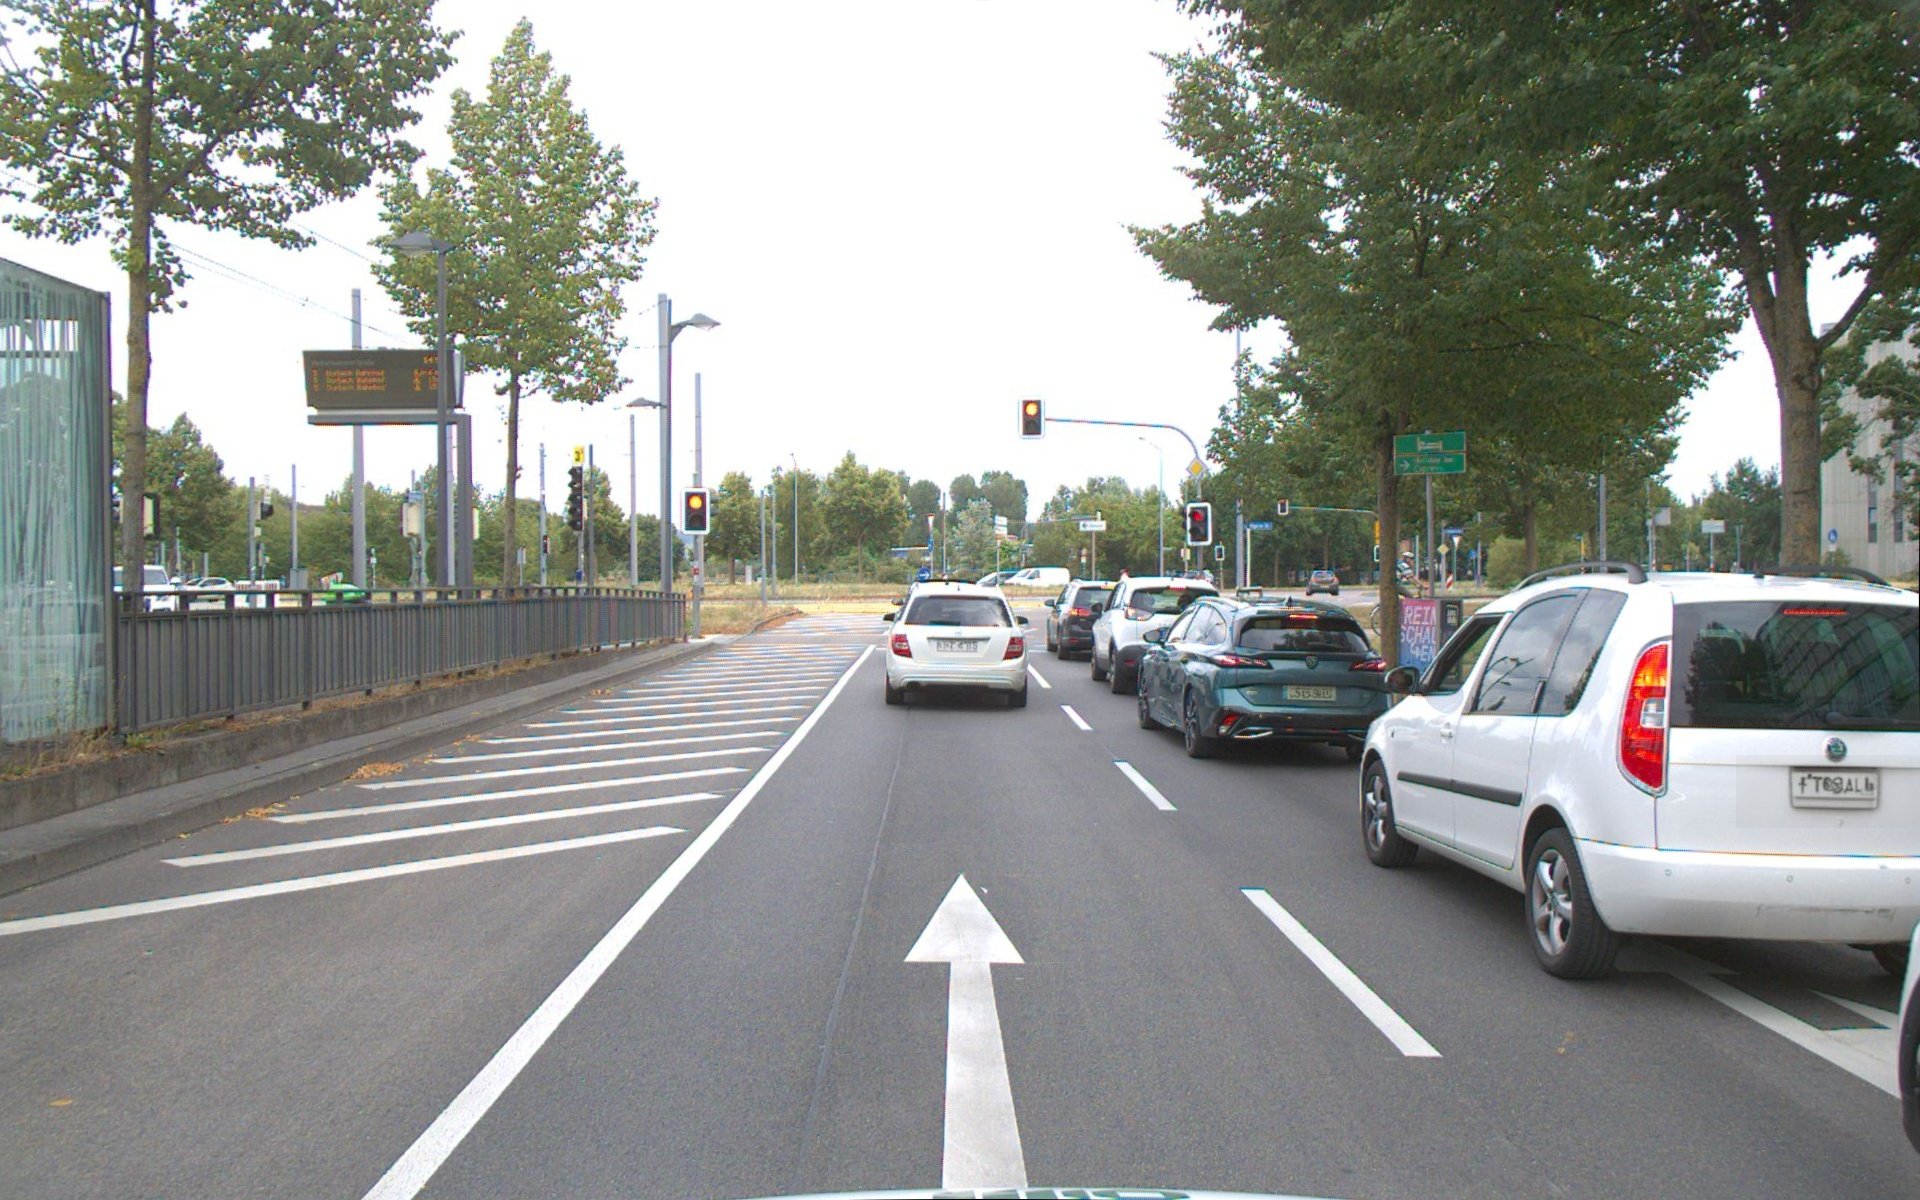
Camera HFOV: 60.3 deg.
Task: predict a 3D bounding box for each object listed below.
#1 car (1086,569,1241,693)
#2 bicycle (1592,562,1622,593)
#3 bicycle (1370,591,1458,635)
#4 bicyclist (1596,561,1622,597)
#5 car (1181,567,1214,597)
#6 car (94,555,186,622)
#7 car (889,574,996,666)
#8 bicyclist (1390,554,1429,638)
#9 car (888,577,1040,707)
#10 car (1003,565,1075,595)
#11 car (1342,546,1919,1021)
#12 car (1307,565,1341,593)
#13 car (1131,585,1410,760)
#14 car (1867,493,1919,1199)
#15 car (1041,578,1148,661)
[{"bbox_3d":[2.892,0.392,24.219,1.751,1.653,3.910,0,1,0],"label":"car"},{"bbox_3d":[32.706,-1.120,83.621,0.690,1.532,2.008,2,0,1],"label":"bicycle"},{"bbox_3d":[10.538,0.305,38.384,1.895,1.001,0.564,0,1,-2],"label":"bicycle"},{"bbox_3d":[32.743,-1.074,83.484,0.849,1.820,1.174,0,1,-2],"label":"bicyclist"},{"bbox_3d":[15.156,-1.158,105.662,1.951,1.822,4.003,2,0,7],"label":"car"},{"bbox_3d":[-21.448,-0.336,43.398,1.968,1.646,4.351,0,1,-24],"label":"car"},{"bbox_3d":[-0.364,0.301,29.231,1.738,1.473,3.909,1,1,-2],"label":"car"},{"bbox_3d":[10.399,-0.097,38.281,0.714,1.918,0.734,0,1,-2],"label":"bicyclist"},{"bbox_3d":[-0.034,0.461,21.074,1.738,1.473,3.909,1,1,-2],"label":"car"},{"bbox_3d":[5.639,-1.456,117.881,4.940,2.049,1.976,-1,1,-34],"label":"car"},{"bbox_3d":[3.181,0.621,7.909,1.742,1.685,4.023,0,1,-1],"label":"car"},{"bbox_3d":[22.046,-1.293,100.353,1.745,1.664,4.406,0,1,9],"label":"car"},{"bbox_3d":[2.870,0.601,16.229,1.751,1.457,4.309,0,1,-3],"label":"car"},{"bbox_3d":[3.059,0.653,1.922,1.742,1.685,4.023,1,1,-1],"label":"car"},{"bbox_3d":[2.558,0.327,32.172,1.592,1.473,3.909,1,1,-2],"label":"car"}]
